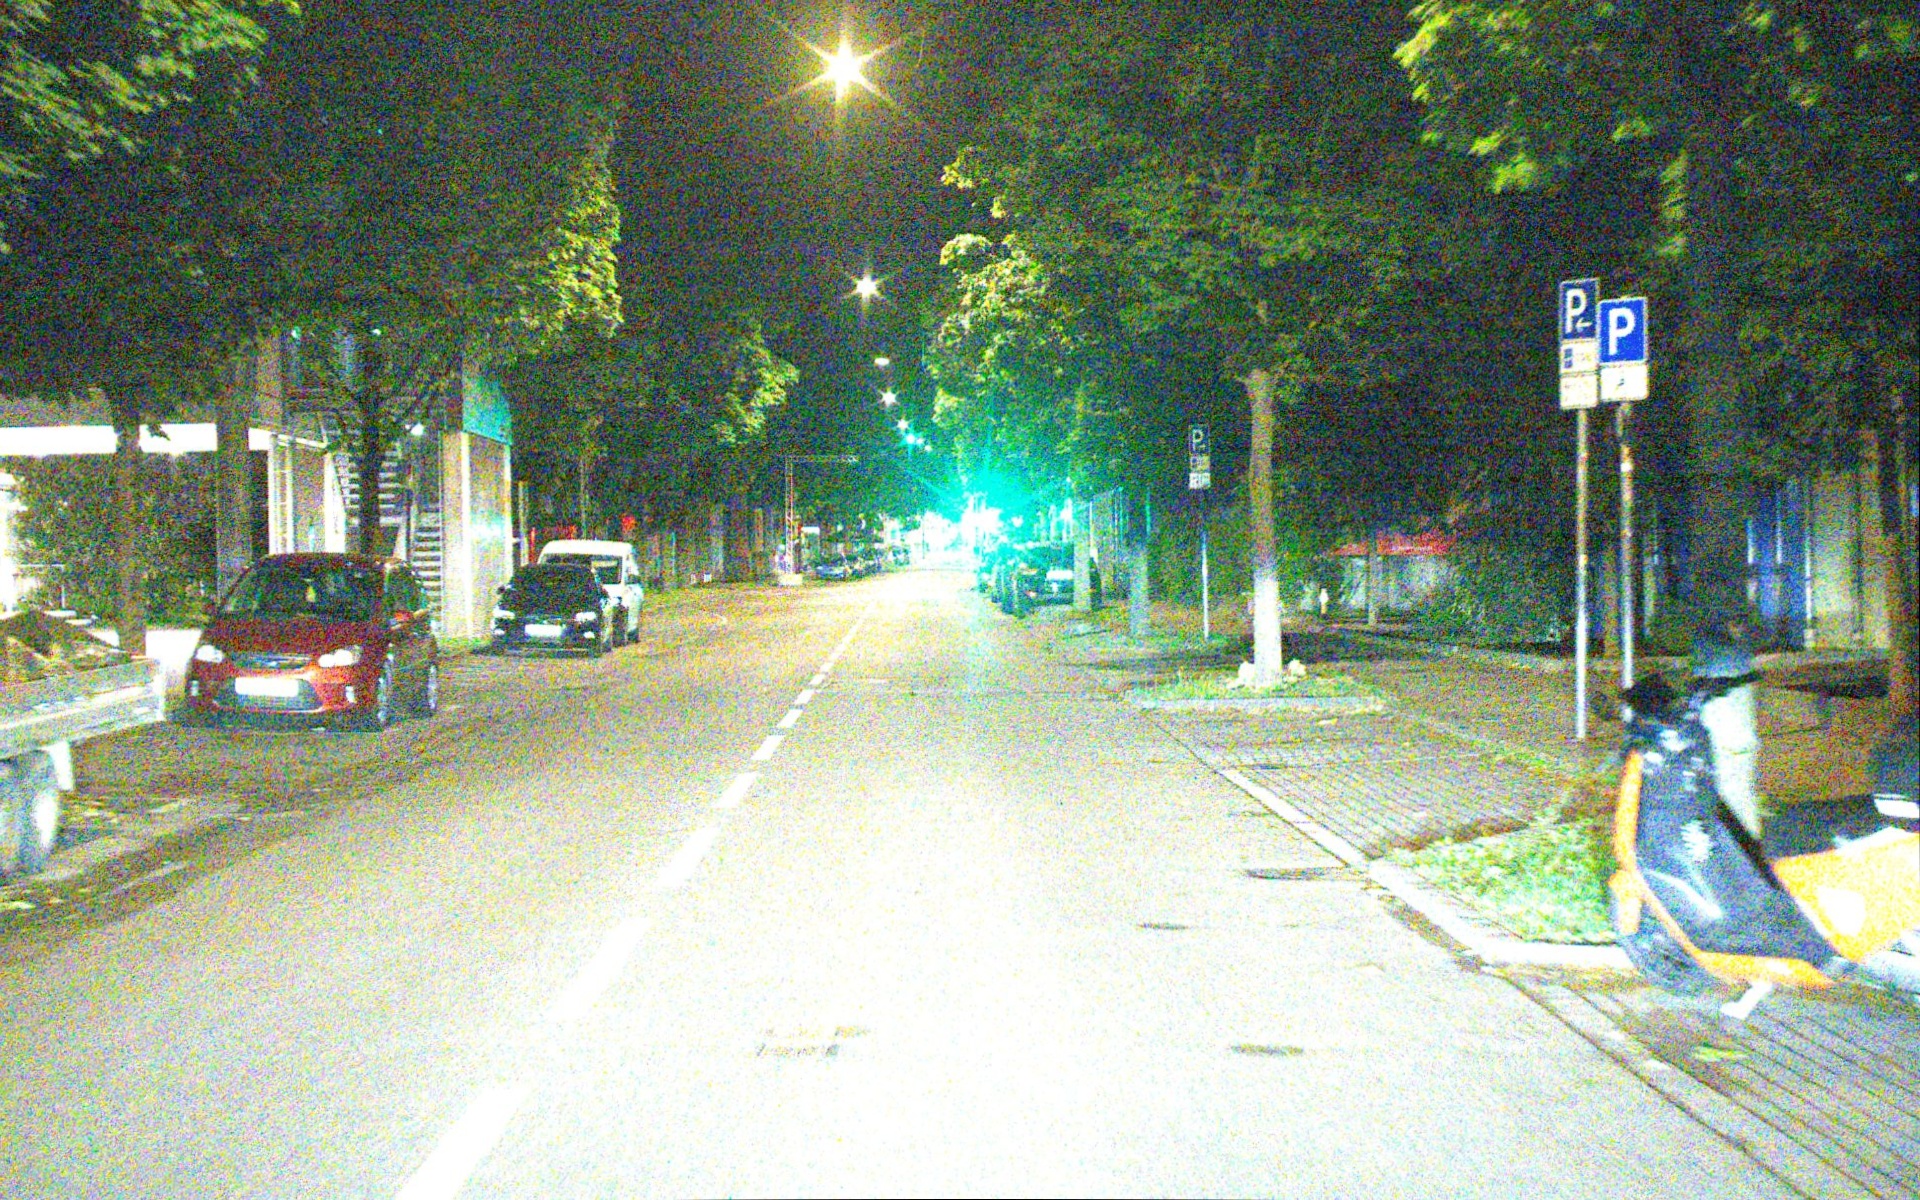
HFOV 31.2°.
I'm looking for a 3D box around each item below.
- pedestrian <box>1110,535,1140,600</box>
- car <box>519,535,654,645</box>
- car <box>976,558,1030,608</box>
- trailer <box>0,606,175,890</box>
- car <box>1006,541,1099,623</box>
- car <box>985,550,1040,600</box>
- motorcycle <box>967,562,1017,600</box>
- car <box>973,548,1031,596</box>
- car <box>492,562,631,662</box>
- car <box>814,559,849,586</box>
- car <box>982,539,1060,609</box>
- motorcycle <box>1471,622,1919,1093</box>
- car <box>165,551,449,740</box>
[{"bbox_3d":[4.438,-0.881,92.545,0.705,1.716,0.821,-2,1,0],"label":"pedestrian"},{"bbox_3d":[-6.582,-0.204,60.944,1.822,1.805,4.210,2,1,1],"label":"car"},{"bbox_3d":[1.276,-0.520,103.252,1.520,1.391,3.984,-2,1,0],"label":"car"},{"bbox_3d":[-5.793,0.735,17.847,2.110,1.330,5.435,2,1,1],"label":"trailer"},{"bbox_3d":[1.993,-0.416,75.233,1.853,1.648,4.209,-3,1,0],"label":"car"},{"bbox_3d":[1.695,-0.820,112.398,1.591,1.529,4.138,-3,1,-1],"label":"car"},{"bbox_3d":[1.087,-0.640,116.404,0.637,1.265,2.060,0,1,34],"label":"motorcycle"},{"bbox_3d":[1.452,-0.989,119.938,1.853,1.585,4.301,-1,1,-1],"label":"car"},{"bbox_3d":[-6.300,0.162,54.629,1.700,1.428,3.828,2,1,0],"label":"car"},{"bbox_3d":[-6.825,-1.486,183.382,1.740,1.411,3.752,0,1,0],"label":"car"},{"bbox_3d":[1.672,-0.735,95.555,1.771,1.800,4.278,-3,1,-3],"label":"car"},{"bbox_3d":[2.665,0.741,10.967,0.926,1.279,2.235,-3,1,-25],"label":"motorcycle"},{"bbox_3d":[-6.115,0.376,32.619,1.822,1.593,4.073,2,1,1],"label":"car"}]
